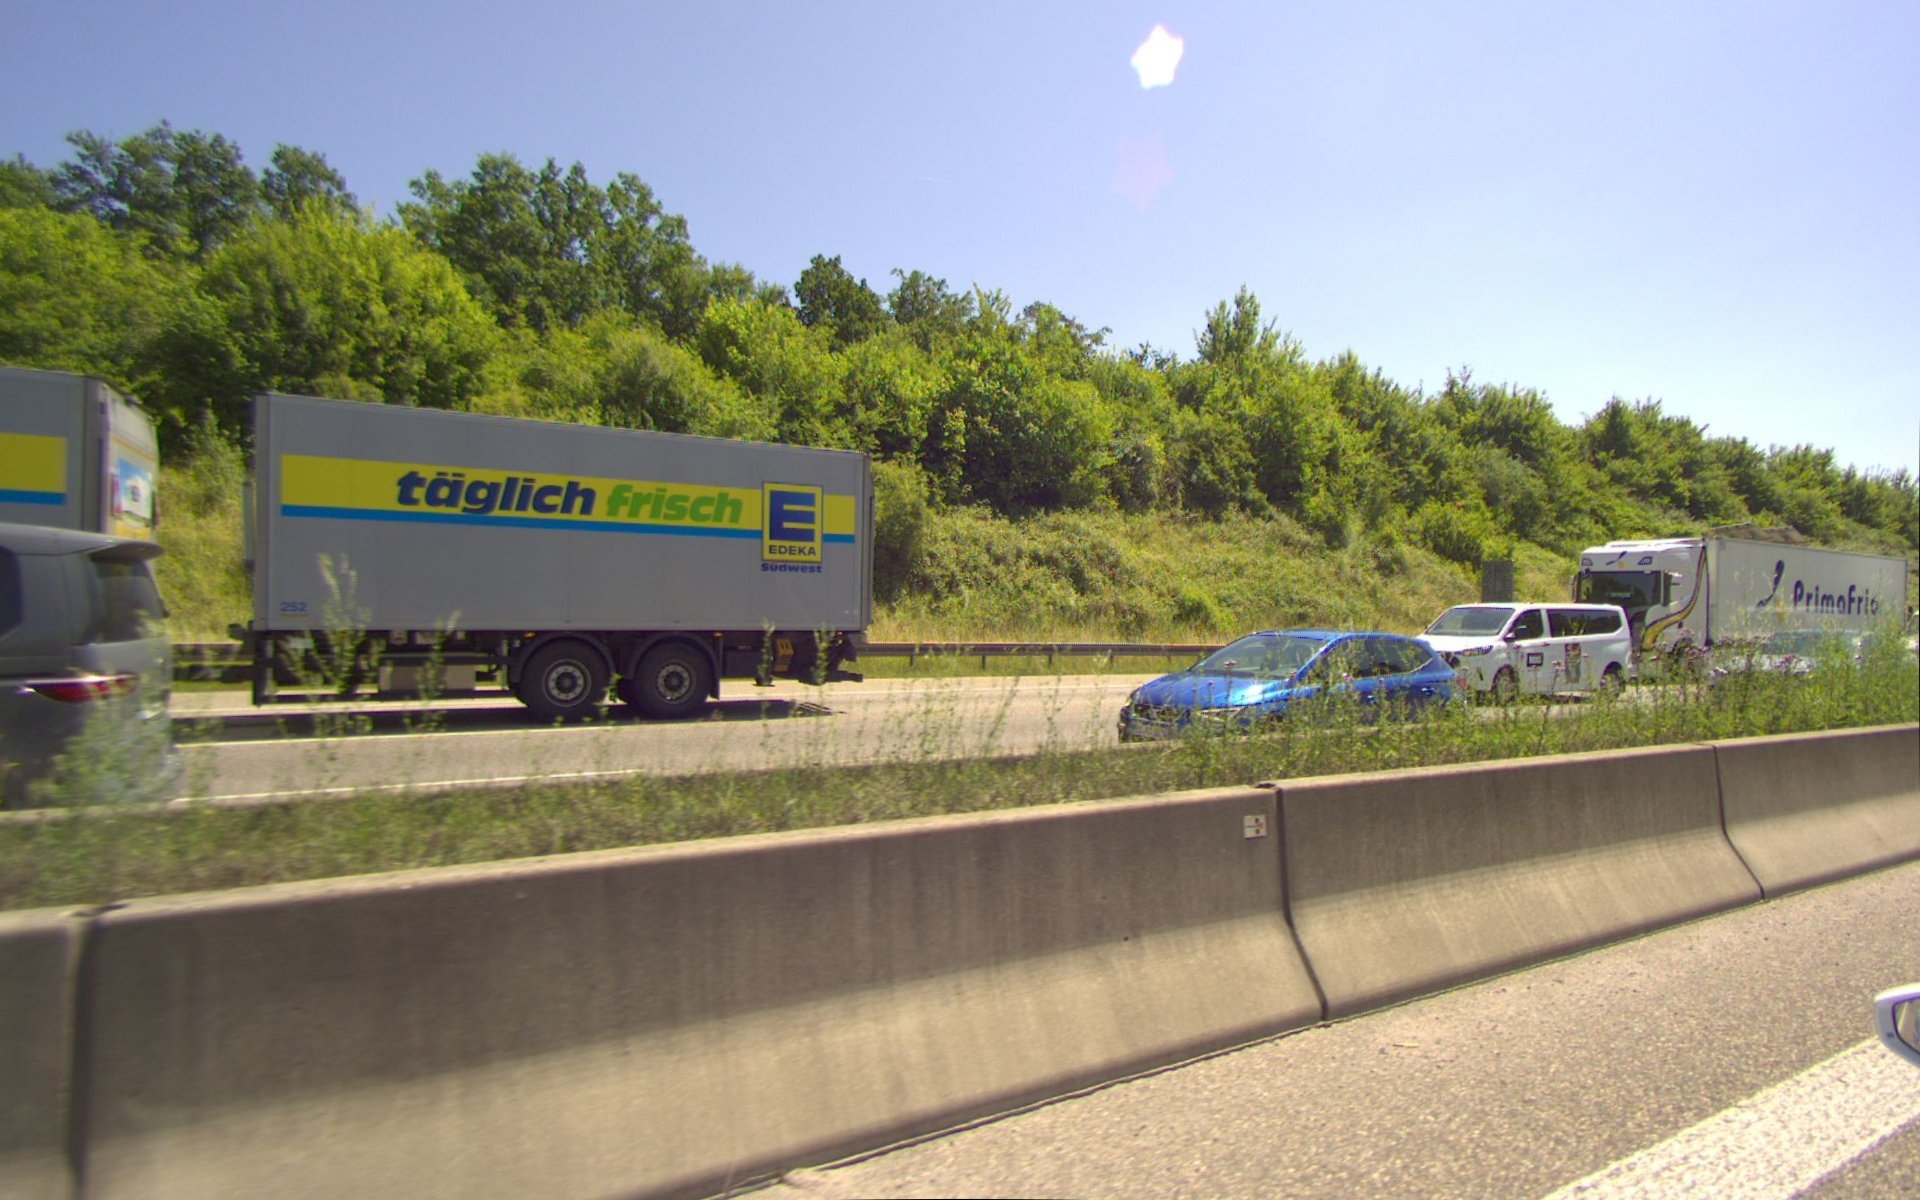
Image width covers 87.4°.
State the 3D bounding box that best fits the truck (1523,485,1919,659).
[{"bbox_3d":[24.920,-0.490,32.176,17.175,4.515,3.679,2,0,-30],"label":"truck"}]

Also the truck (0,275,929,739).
[{"bbox_3d":[-9.723,-0.896,11.690,19.221,4.515,3.679,2,0,-30],"label":"truck"}]

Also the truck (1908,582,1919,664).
[{"bbox_3d":[42.742,1.036,42.534,5.128,3.410,2.480,2,0,-32],"label":"truck"}]

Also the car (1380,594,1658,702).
[{"bbox_3d":[11.572,0.966,20.695,5.812,1.967,2.176,2,0,-28],"label":"car"}]

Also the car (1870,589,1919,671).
[{"bbox_3d":[30.929,0.985,31.169,6.466,2.416,2.173,2,0,-31],"label":"car"}]

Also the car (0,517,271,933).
[{"bbox_3d":[-6.259,0.527,4.640,4.916,1.941,1.816,2,0,-32],"label":"car"}]

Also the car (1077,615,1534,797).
[{"bbox_3d":[3.740,0.980,10.534,4.916,1.497,1.816,2,0,-32],"label":"car"}]

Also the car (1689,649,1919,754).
[{"bbox_3d":[14.954,1.666,17.436,5.339,1.497,1.816,2,0,-32],"label":"car"}]
